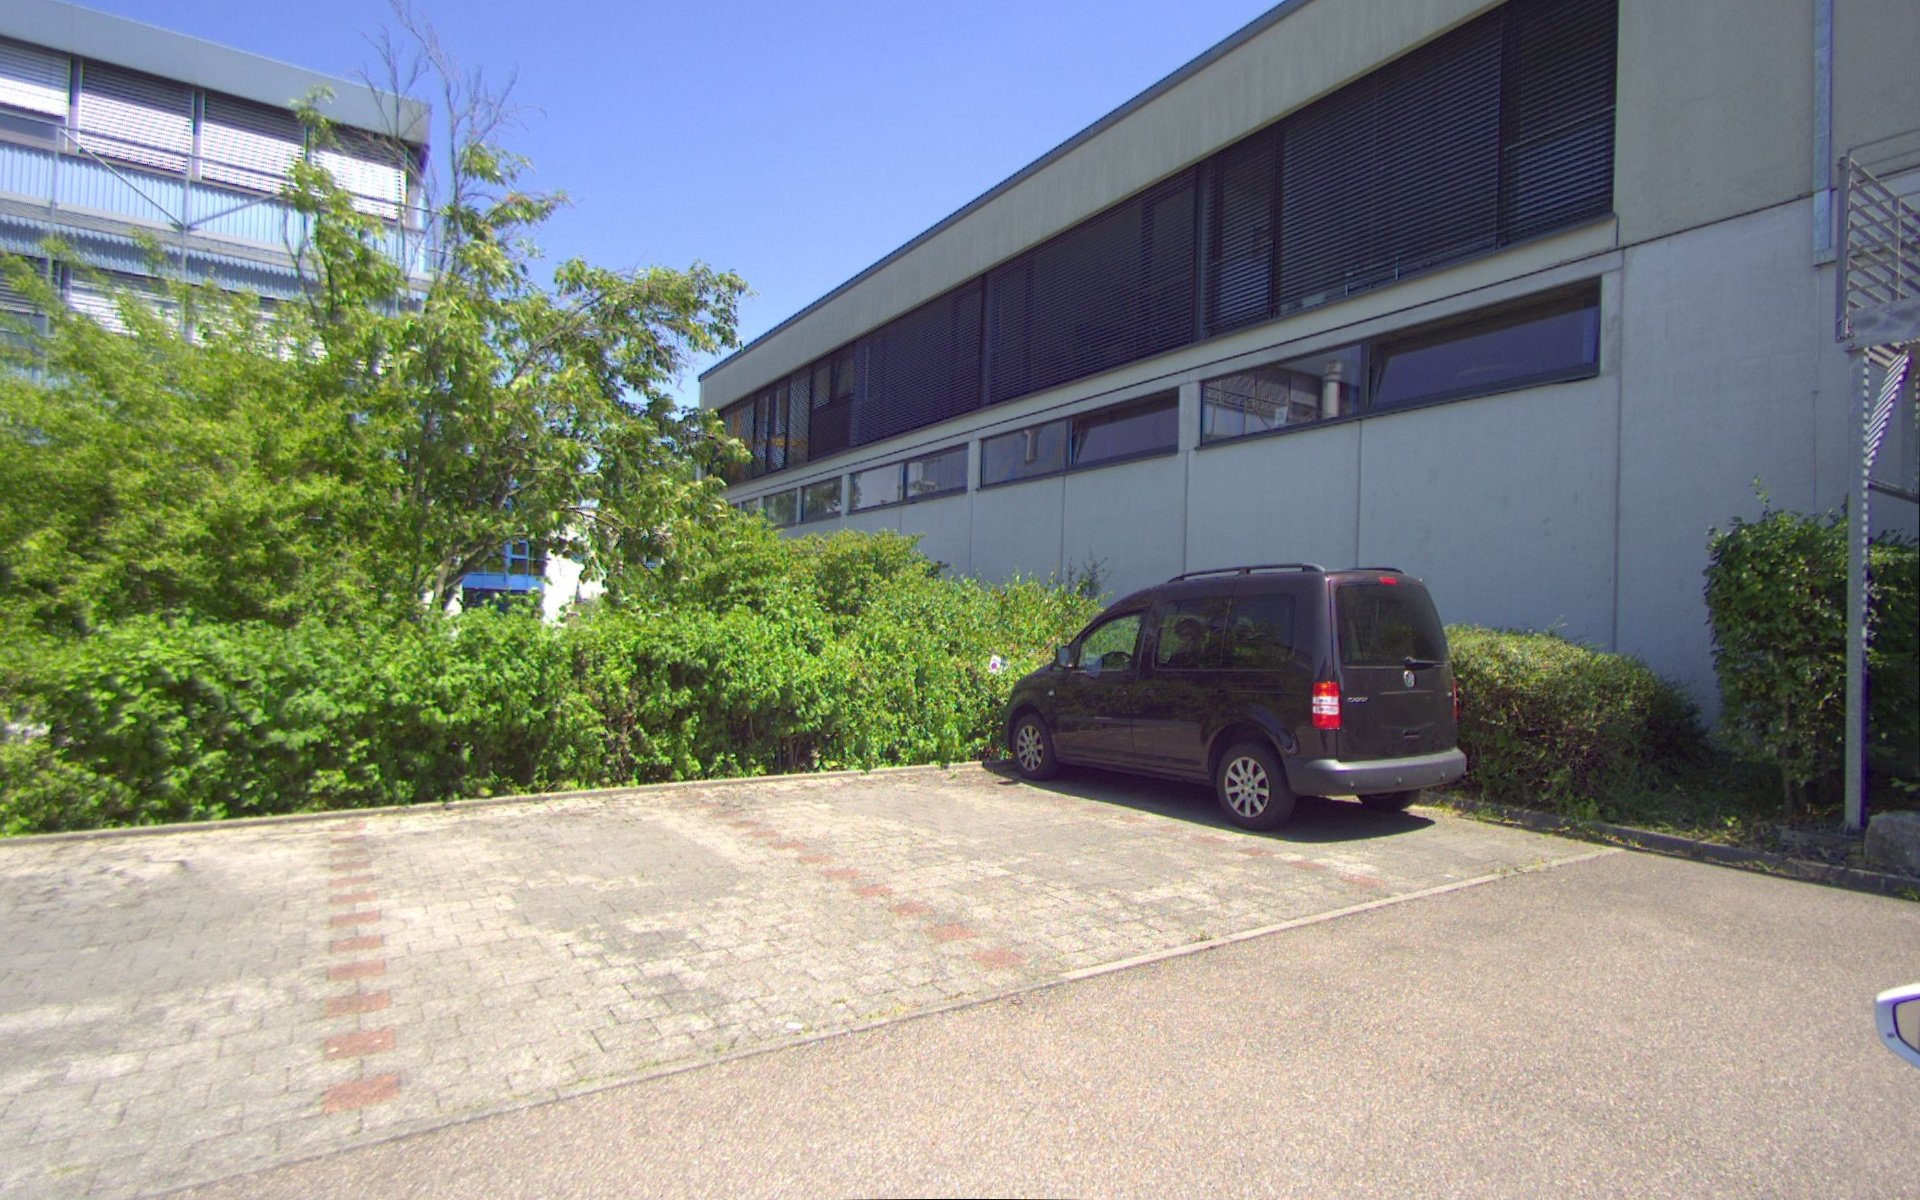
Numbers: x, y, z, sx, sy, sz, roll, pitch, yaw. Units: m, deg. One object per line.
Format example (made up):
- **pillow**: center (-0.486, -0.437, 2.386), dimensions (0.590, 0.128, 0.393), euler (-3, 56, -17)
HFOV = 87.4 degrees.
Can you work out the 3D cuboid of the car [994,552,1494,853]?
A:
- **car**: center (2.095, 0.679, 8.531), dimensions (1.660, 1.909, 4.037), euler (2, -1, -31)
